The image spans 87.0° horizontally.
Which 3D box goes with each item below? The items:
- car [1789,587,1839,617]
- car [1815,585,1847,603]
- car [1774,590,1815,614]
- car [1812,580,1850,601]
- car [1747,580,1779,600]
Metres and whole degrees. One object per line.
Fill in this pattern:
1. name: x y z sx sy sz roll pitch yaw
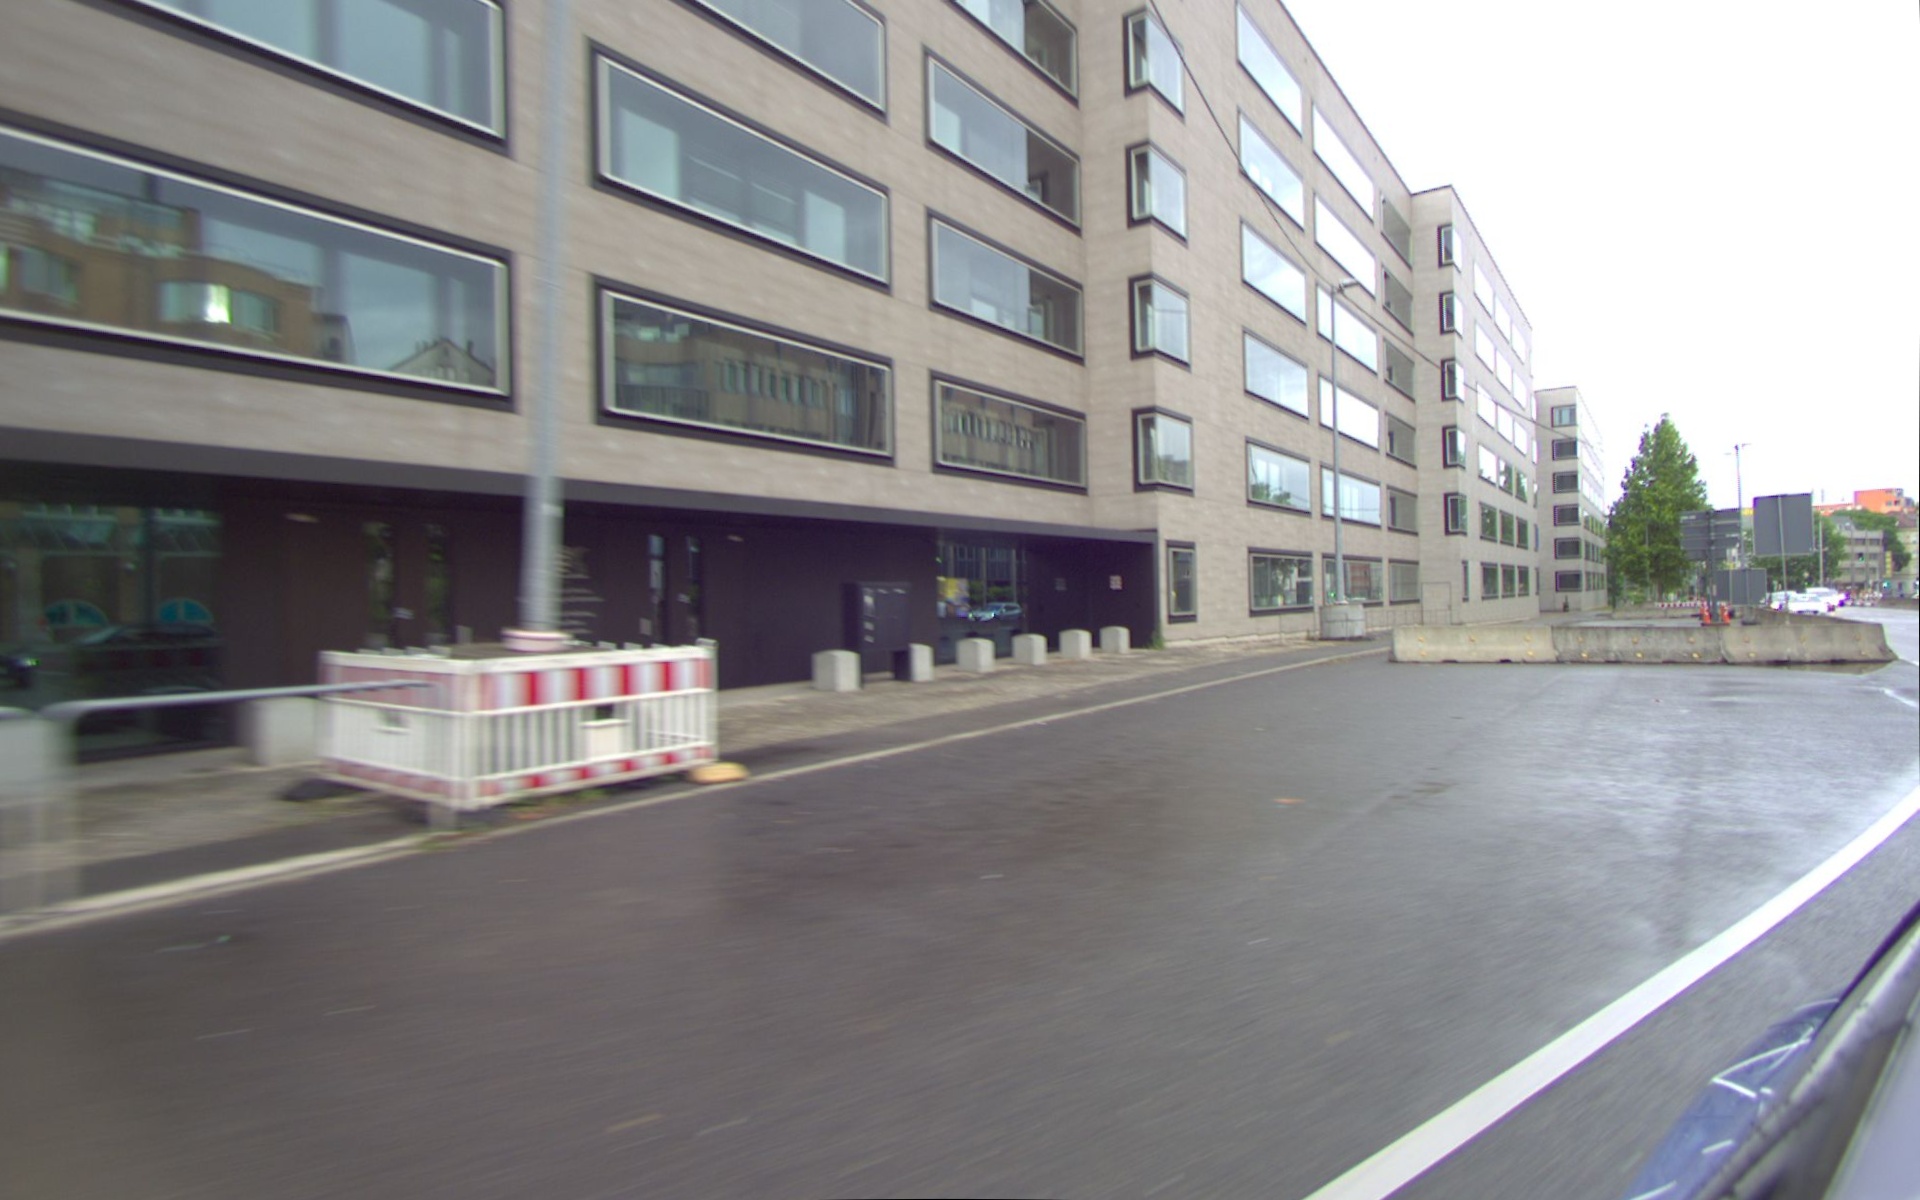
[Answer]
1. car: 47.978 0.102 56.928 1.762 1.553 4.596 -2 -1 36
2. car: 81.565 -0.547 94.814 1.762 1.553 4.596 -2 -1 36
3. car: 56.172 0.134 68.189 1.762 1.553 4.596 -2 -1 36
4. car: 67.639 -0.764 78.648 1.762 1.553 4.596 -2 -1 36
5. car: 65.229 -0.782 82.250 1.762 1.553 4.596 -2 -1 36
